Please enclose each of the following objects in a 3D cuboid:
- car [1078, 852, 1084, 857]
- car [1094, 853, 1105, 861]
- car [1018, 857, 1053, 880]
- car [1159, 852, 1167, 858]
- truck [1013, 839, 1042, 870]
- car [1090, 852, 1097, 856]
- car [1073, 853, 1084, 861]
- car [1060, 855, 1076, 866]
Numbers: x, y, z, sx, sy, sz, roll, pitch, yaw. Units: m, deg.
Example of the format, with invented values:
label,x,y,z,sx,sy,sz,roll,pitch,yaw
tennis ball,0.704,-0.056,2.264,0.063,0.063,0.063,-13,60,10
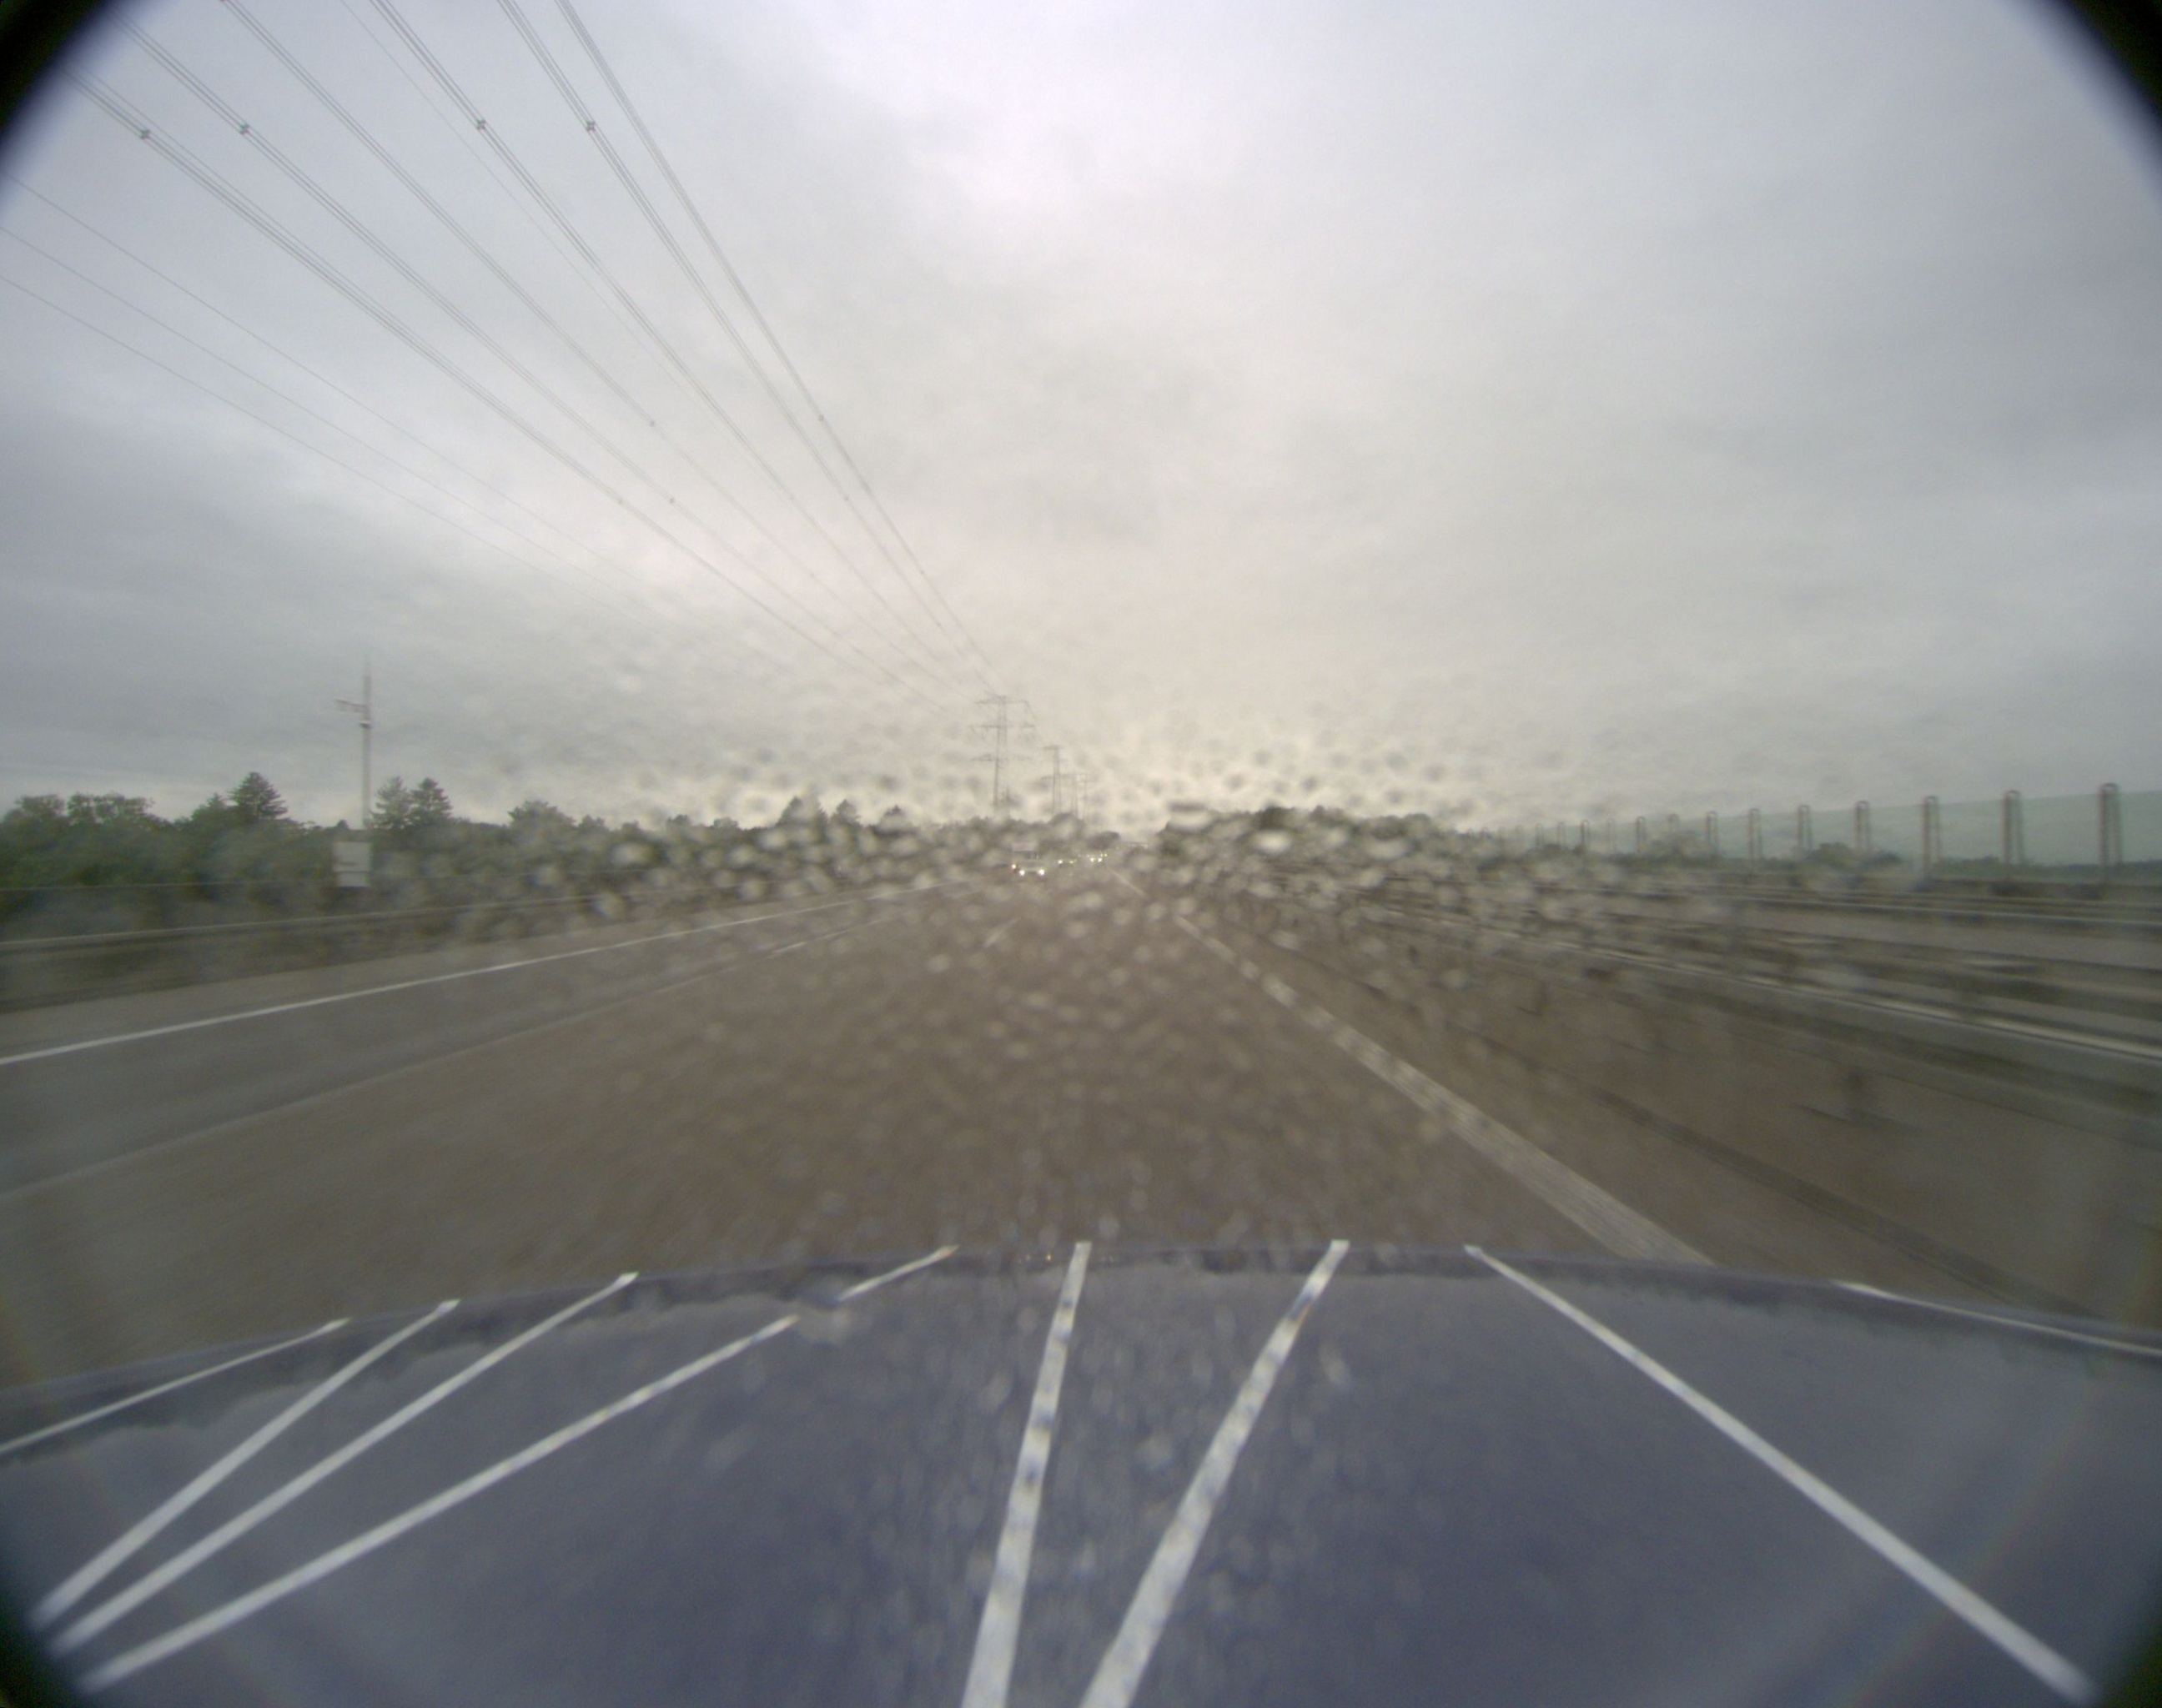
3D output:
label,x,y,z,sx,sy,sz,roll,pitch,yaw
car,-0.097,0.138,247.186,1.783,1.482,4.000,-1,0,1
car,3.466,0.565,141.195,1.998,1.418,4.000,-1,0,1
car,-2.974,0.948,50.635,1.998,1.418,4.000,-1,0,1
car,22.373,0.287,207.533,1.688,1.488,3.860,-1,0,1
truck,-6.051,0.005,87.083,2.649,3.324,6.931,-1,0,1
car,4.128,0.024,247.409,1.998,1.418,4.000,-1,0,1
car,-0.509,0.600,145.407,1.998,1.418,4.000,-1,0,1
car,-1.773,0.858,105.991,1.998,1.418,4.000,-1,0,1
